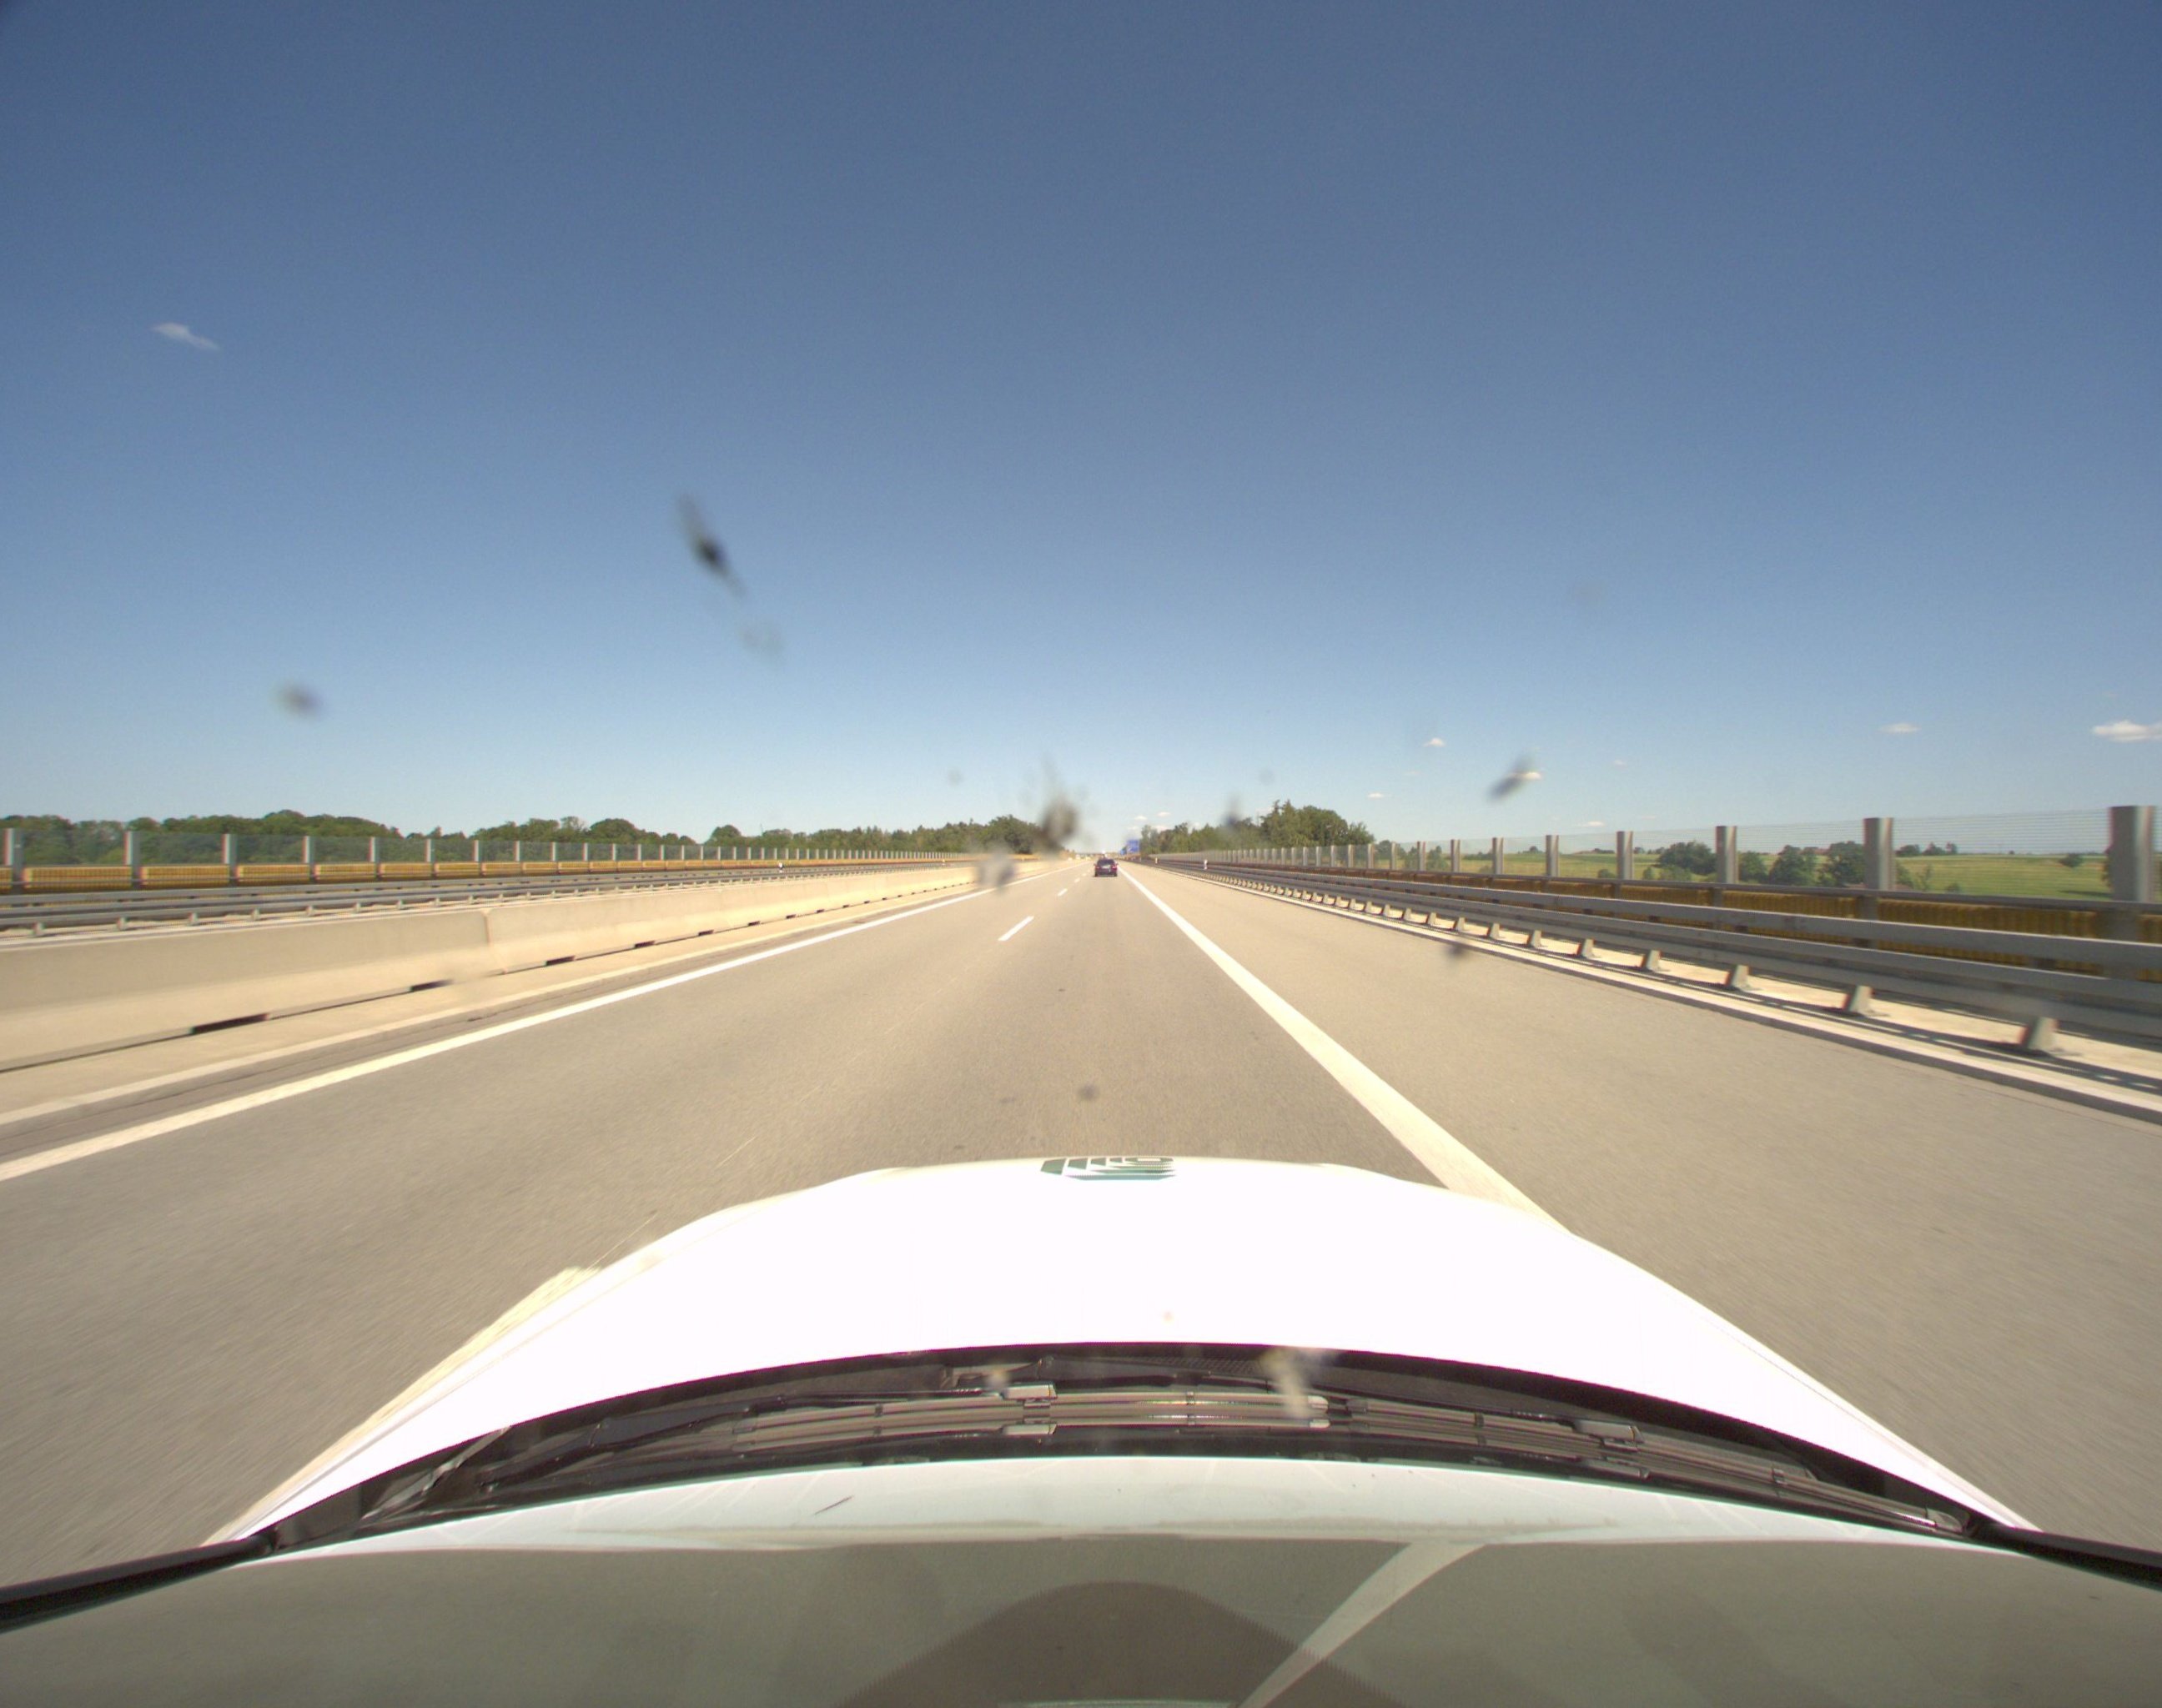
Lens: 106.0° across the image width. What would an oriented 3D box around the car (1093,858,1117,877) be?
[{"bbox_3d":[1.921,1.023,63.573,1.783,1.374,3.919,-1,0,2],"label":"car"}]
